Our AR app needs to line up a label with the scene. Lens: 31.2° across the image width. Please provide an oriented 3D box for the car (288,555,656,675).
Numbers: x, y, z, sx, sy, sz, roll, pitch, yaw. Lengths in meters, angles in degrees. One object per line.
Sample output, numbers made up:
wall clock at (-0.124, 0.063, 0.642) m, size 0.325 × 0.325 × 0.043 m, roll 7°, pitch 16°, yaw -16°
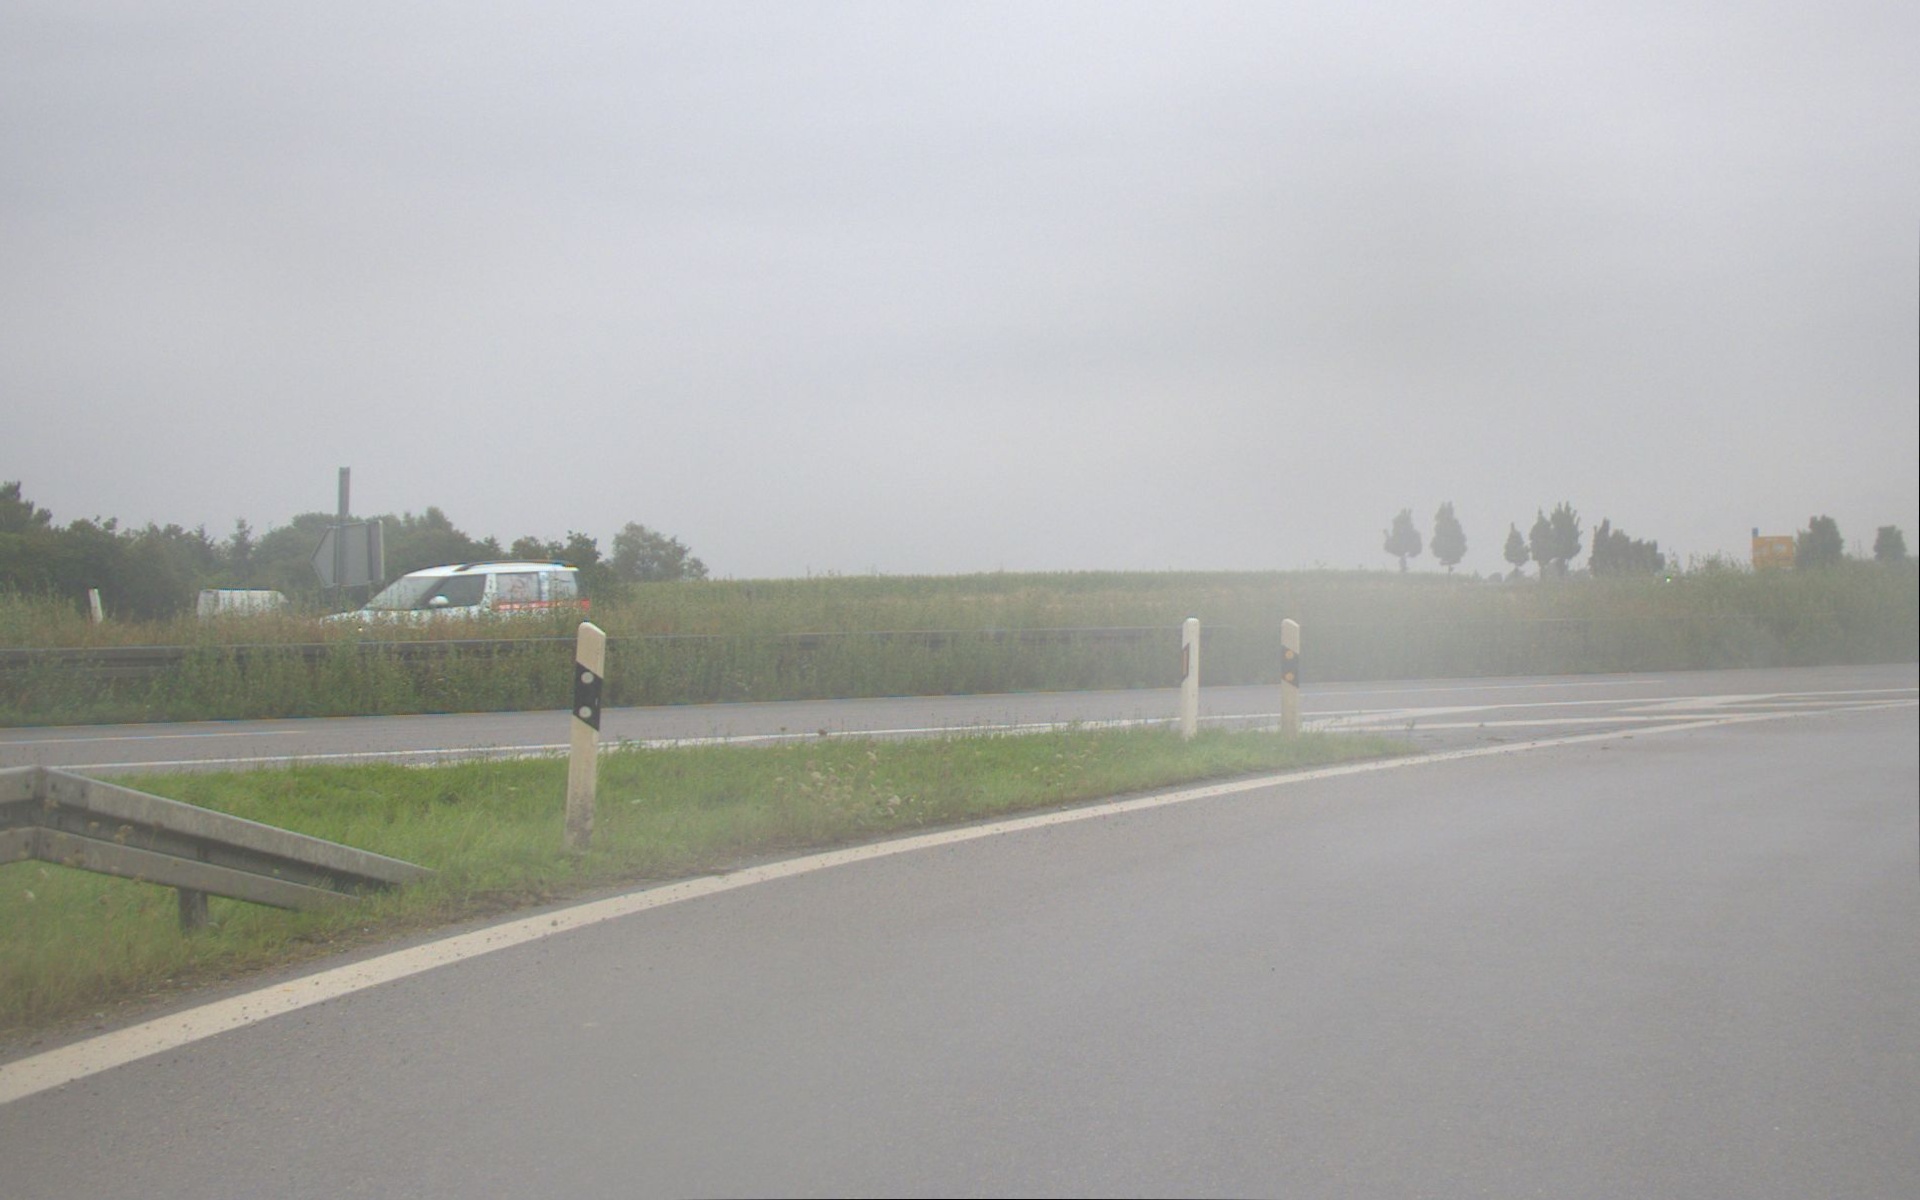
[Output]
car at (-6.635, 0.167, 46.912) m, size 4.517 × 1.534 × 2.111 m, roll -1°, pitch 1°, yaw -37°
